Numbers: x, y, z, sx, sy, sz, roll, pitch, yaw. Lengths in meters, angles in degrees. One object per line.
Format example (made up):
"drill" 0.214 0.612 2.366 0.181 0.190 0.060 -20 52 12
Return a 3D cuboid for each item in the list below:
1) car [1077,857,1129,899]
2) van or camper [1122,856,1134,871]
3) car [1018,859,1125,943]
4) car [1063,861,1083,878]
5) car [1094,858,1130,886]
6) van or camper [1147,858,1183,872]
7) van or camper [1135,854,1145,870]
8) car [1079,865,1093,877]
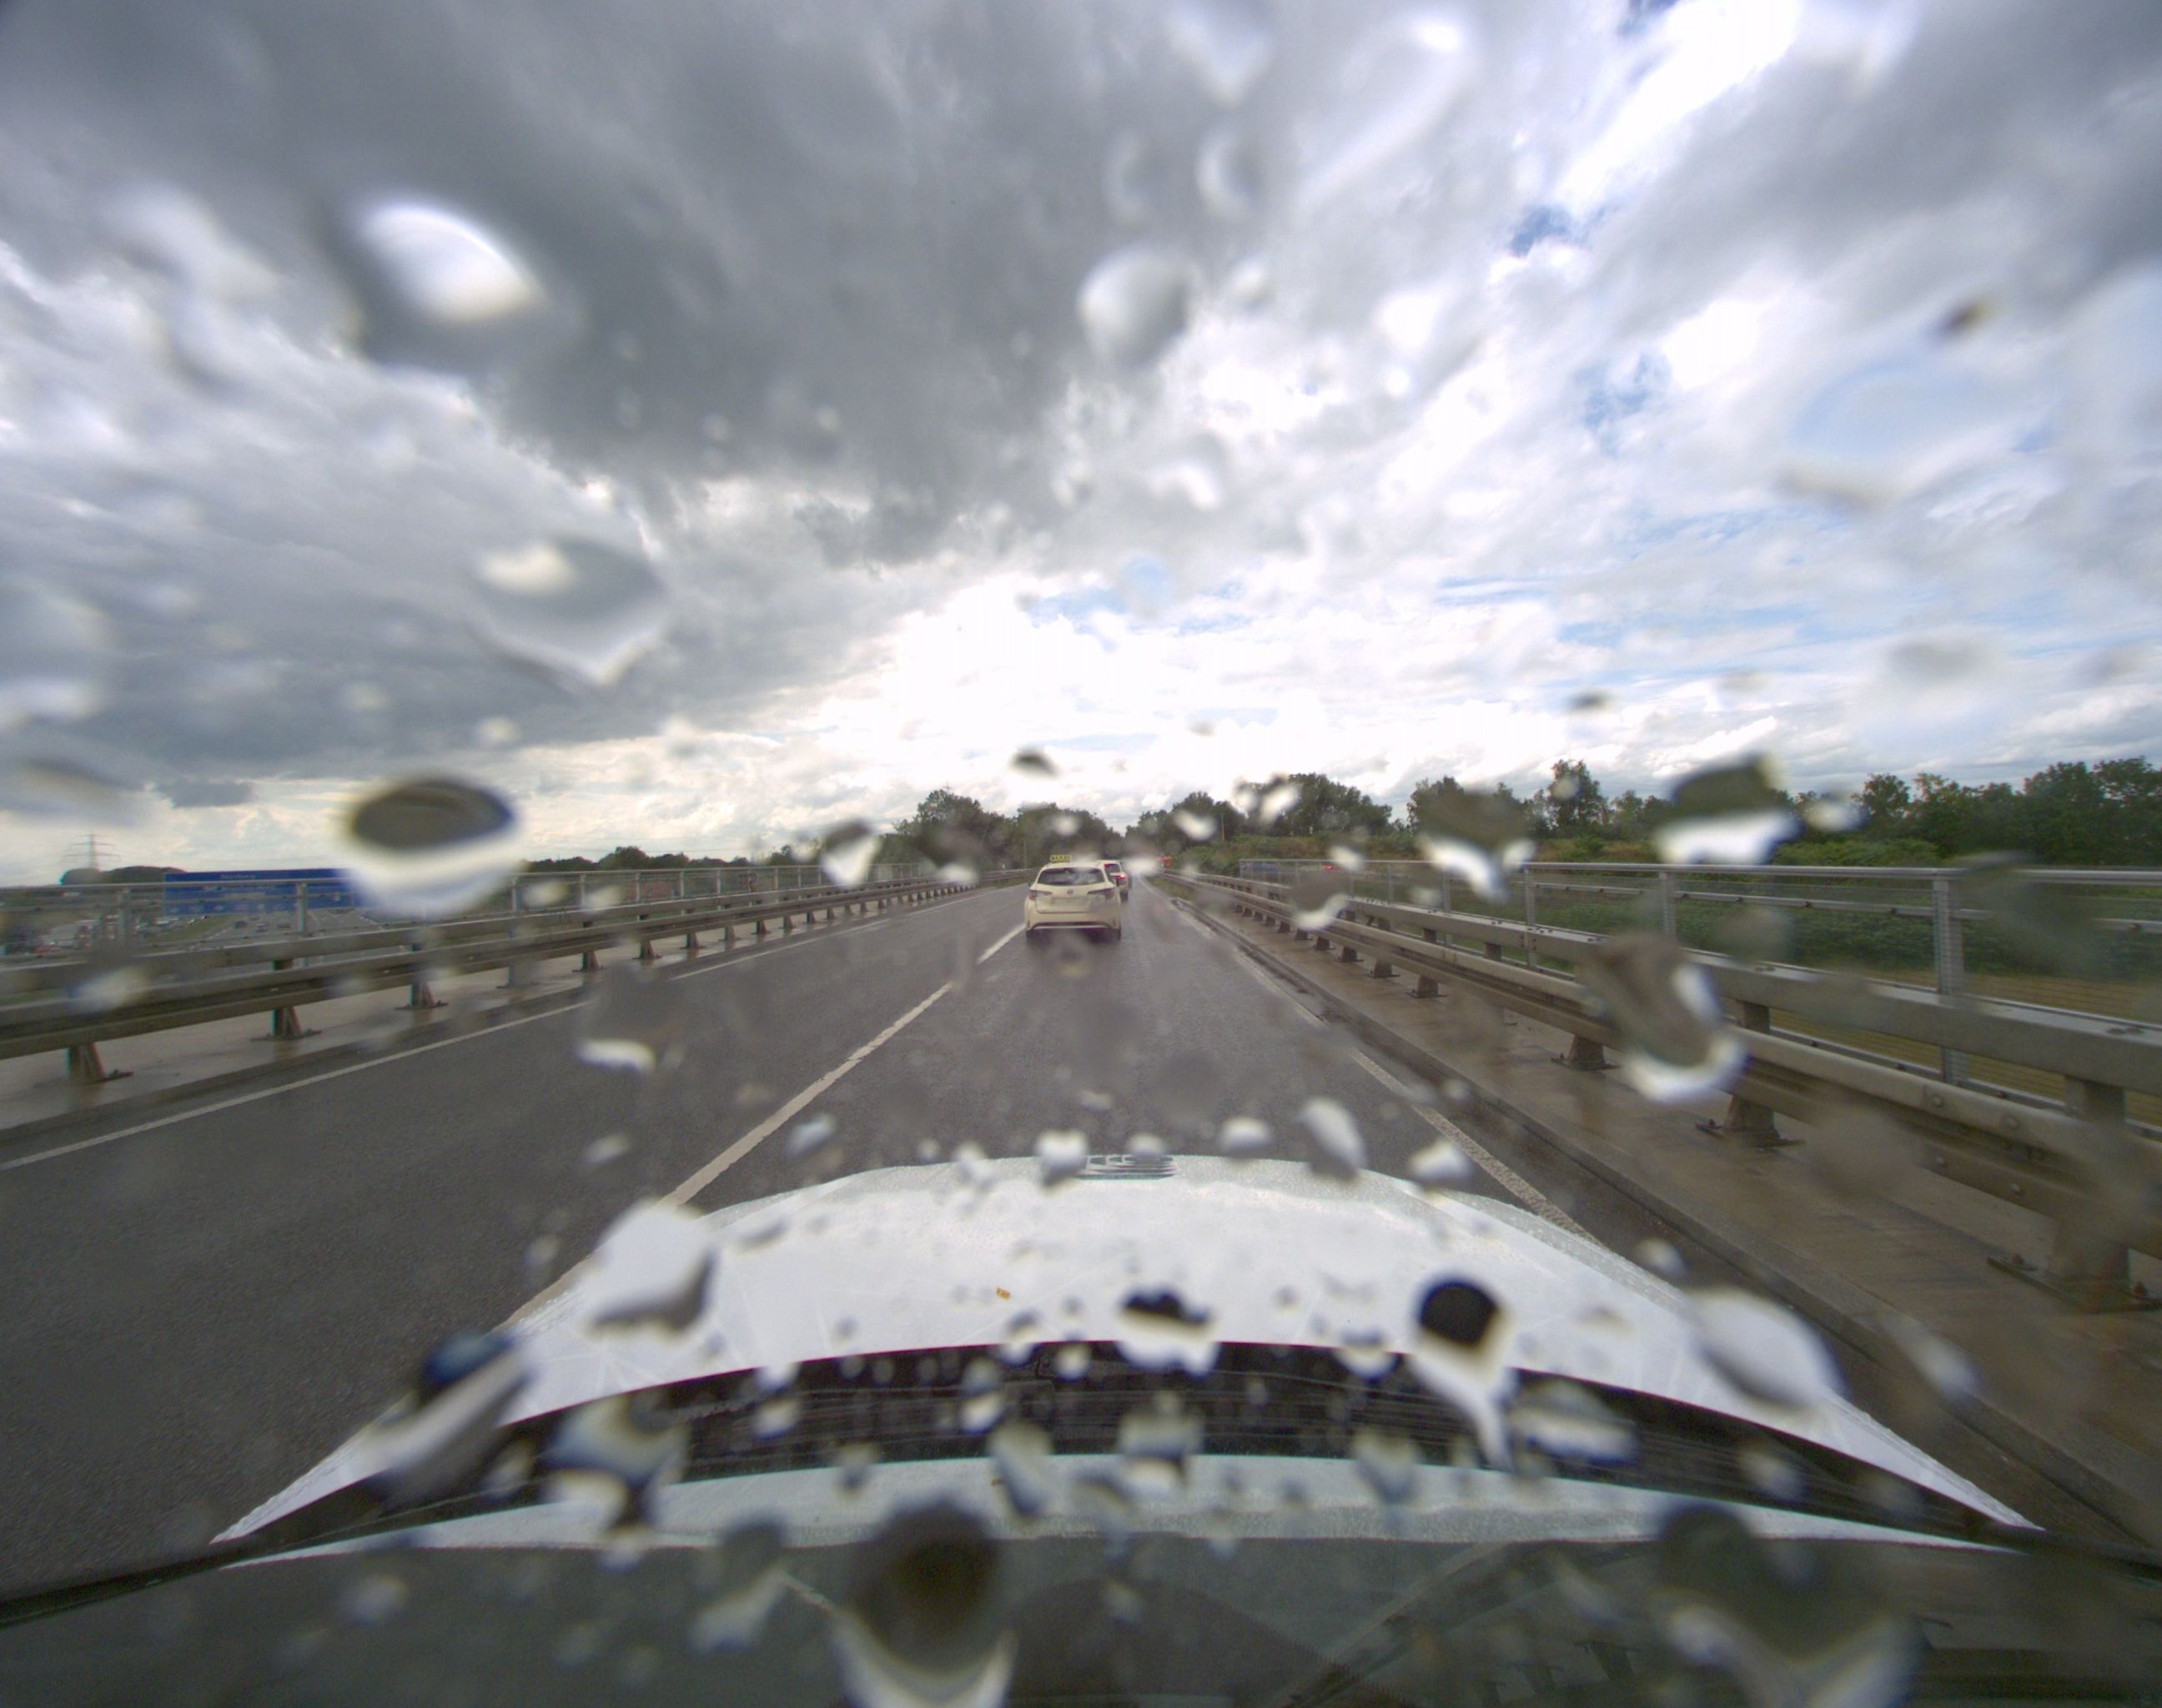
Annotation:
"car" 0.856 0.870 31.023 1.847 1.443 4.173 0 0 2
"van or camper" 9.132 1.796 157.582 2.322 2.864 6.313 0 0 4
"car" -0.083 0.824 16.217 1.847 1.394 4.173 0 0 2
"car" -0.714 1.441 75.673 1.707 1.517 3.861 0 -1 2
"car" 1.725 0.944 44.960 1.847 1.443 4.173 0 0 2
"van or camper" 14.295 1.846 138.698 5.683 2.241 2.012 0 0 -12
"van or camper" 13.600 1.792 188.282 2.322 3.562 6.313 0 0 4
"car" 0.666 2.172 102.447 1.690 1.432 4.325 0 0 2
